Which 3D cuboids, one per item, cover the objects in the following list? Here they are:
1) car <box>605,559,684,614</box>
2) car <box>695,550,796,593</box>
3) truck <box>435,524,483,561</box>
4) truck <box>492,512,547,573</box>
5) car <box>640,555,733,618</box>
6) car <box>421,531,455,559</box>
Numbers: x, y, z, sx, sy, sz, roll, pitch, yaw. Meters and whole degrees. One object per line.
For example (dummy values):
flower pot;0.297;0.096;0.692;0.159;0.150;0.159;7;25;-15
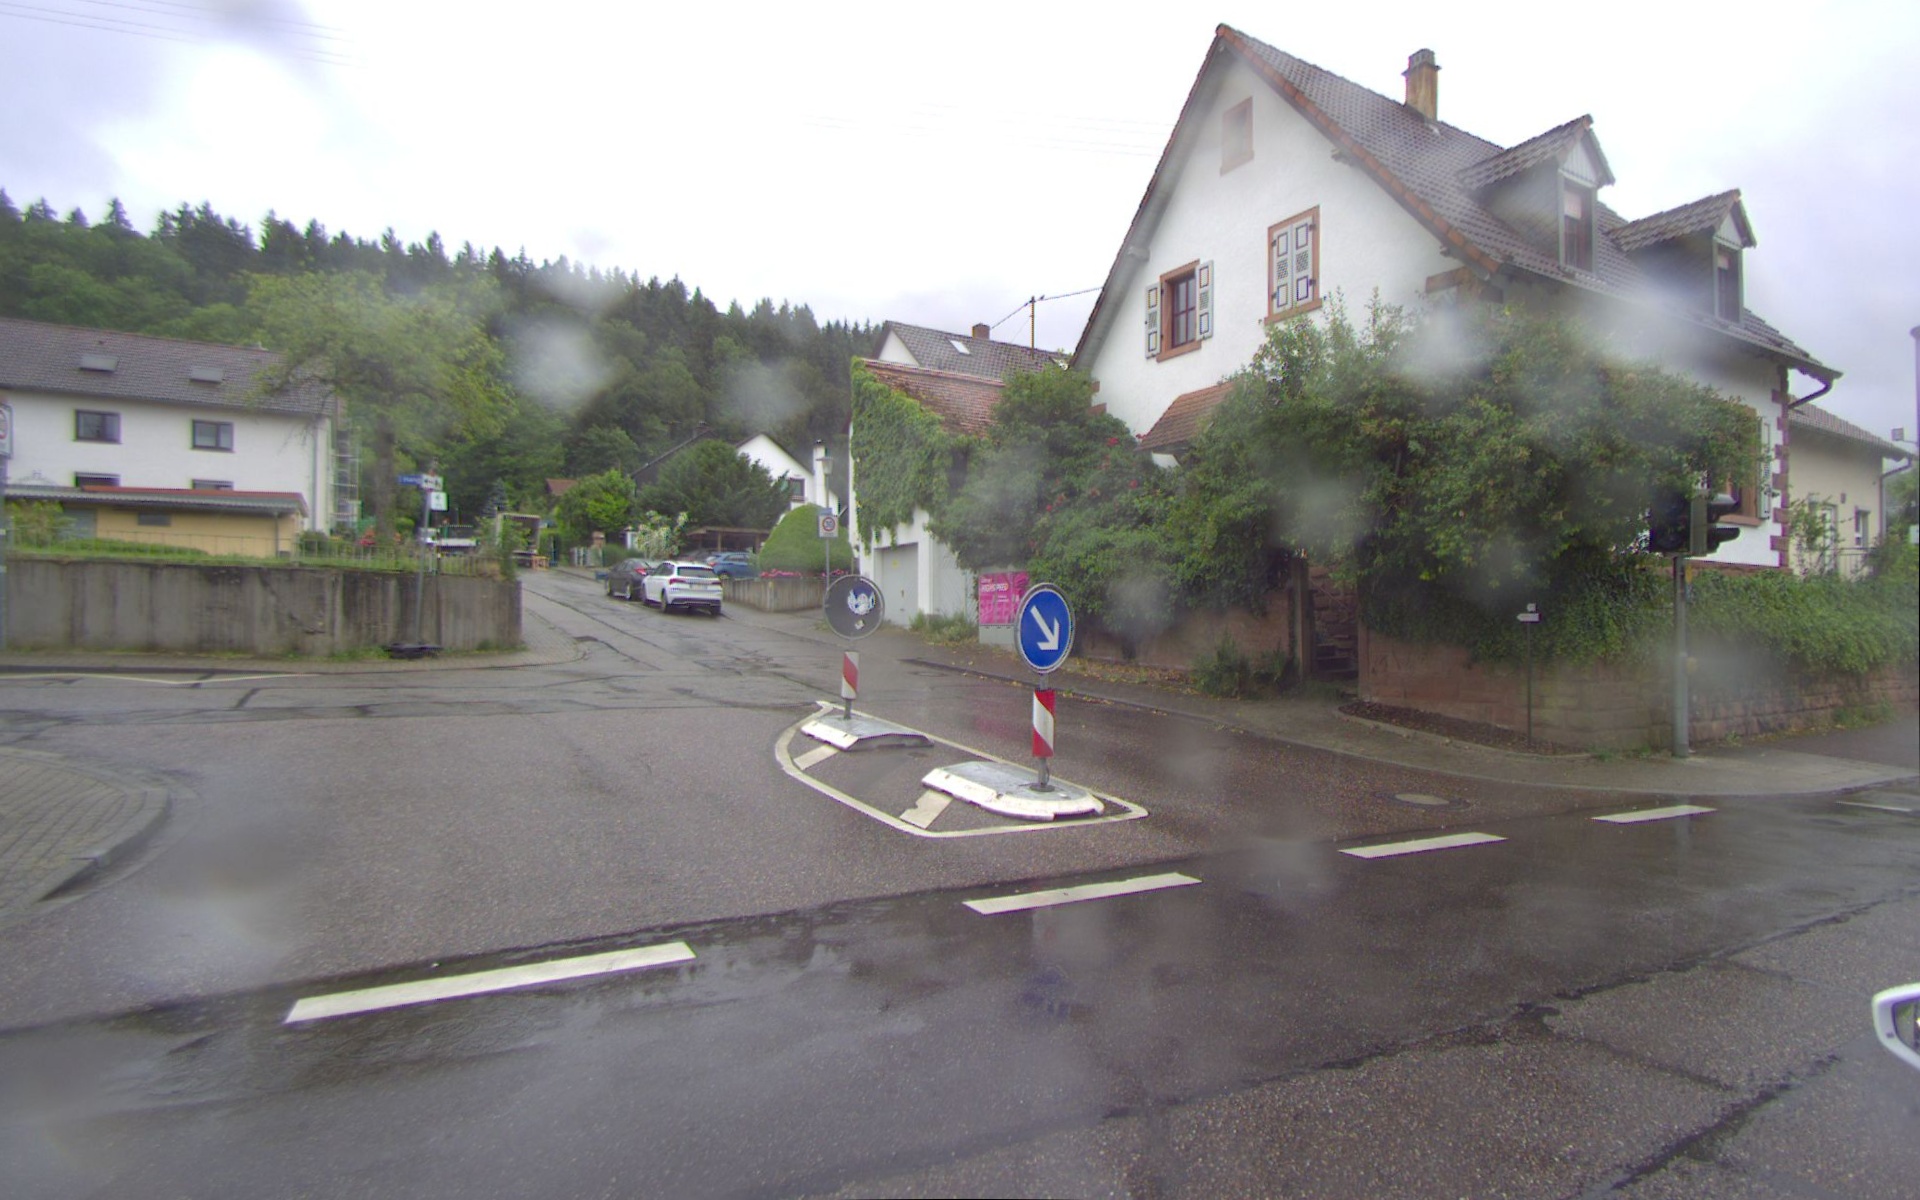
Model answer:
car;-11.253;-0.508;35.646;1.878;1.535;3.860;2;5;-29
car;-9.293;-1.236;43.586;3.847;1.534;1.884;2;5;-31
truck;-32.043;-3.604;64.147;2.273;2.155;6.030;2;1;-30
truck;-27.163;-3.469;61.764;2.424;3.397;6.605;2;1;-29
car;-8.605;-0.453;31.382;1.878;1.535;3.860;2;5;-29
car;-40.489;-4.242;77.865;1.897;2.040;3.962;2;1;-34
